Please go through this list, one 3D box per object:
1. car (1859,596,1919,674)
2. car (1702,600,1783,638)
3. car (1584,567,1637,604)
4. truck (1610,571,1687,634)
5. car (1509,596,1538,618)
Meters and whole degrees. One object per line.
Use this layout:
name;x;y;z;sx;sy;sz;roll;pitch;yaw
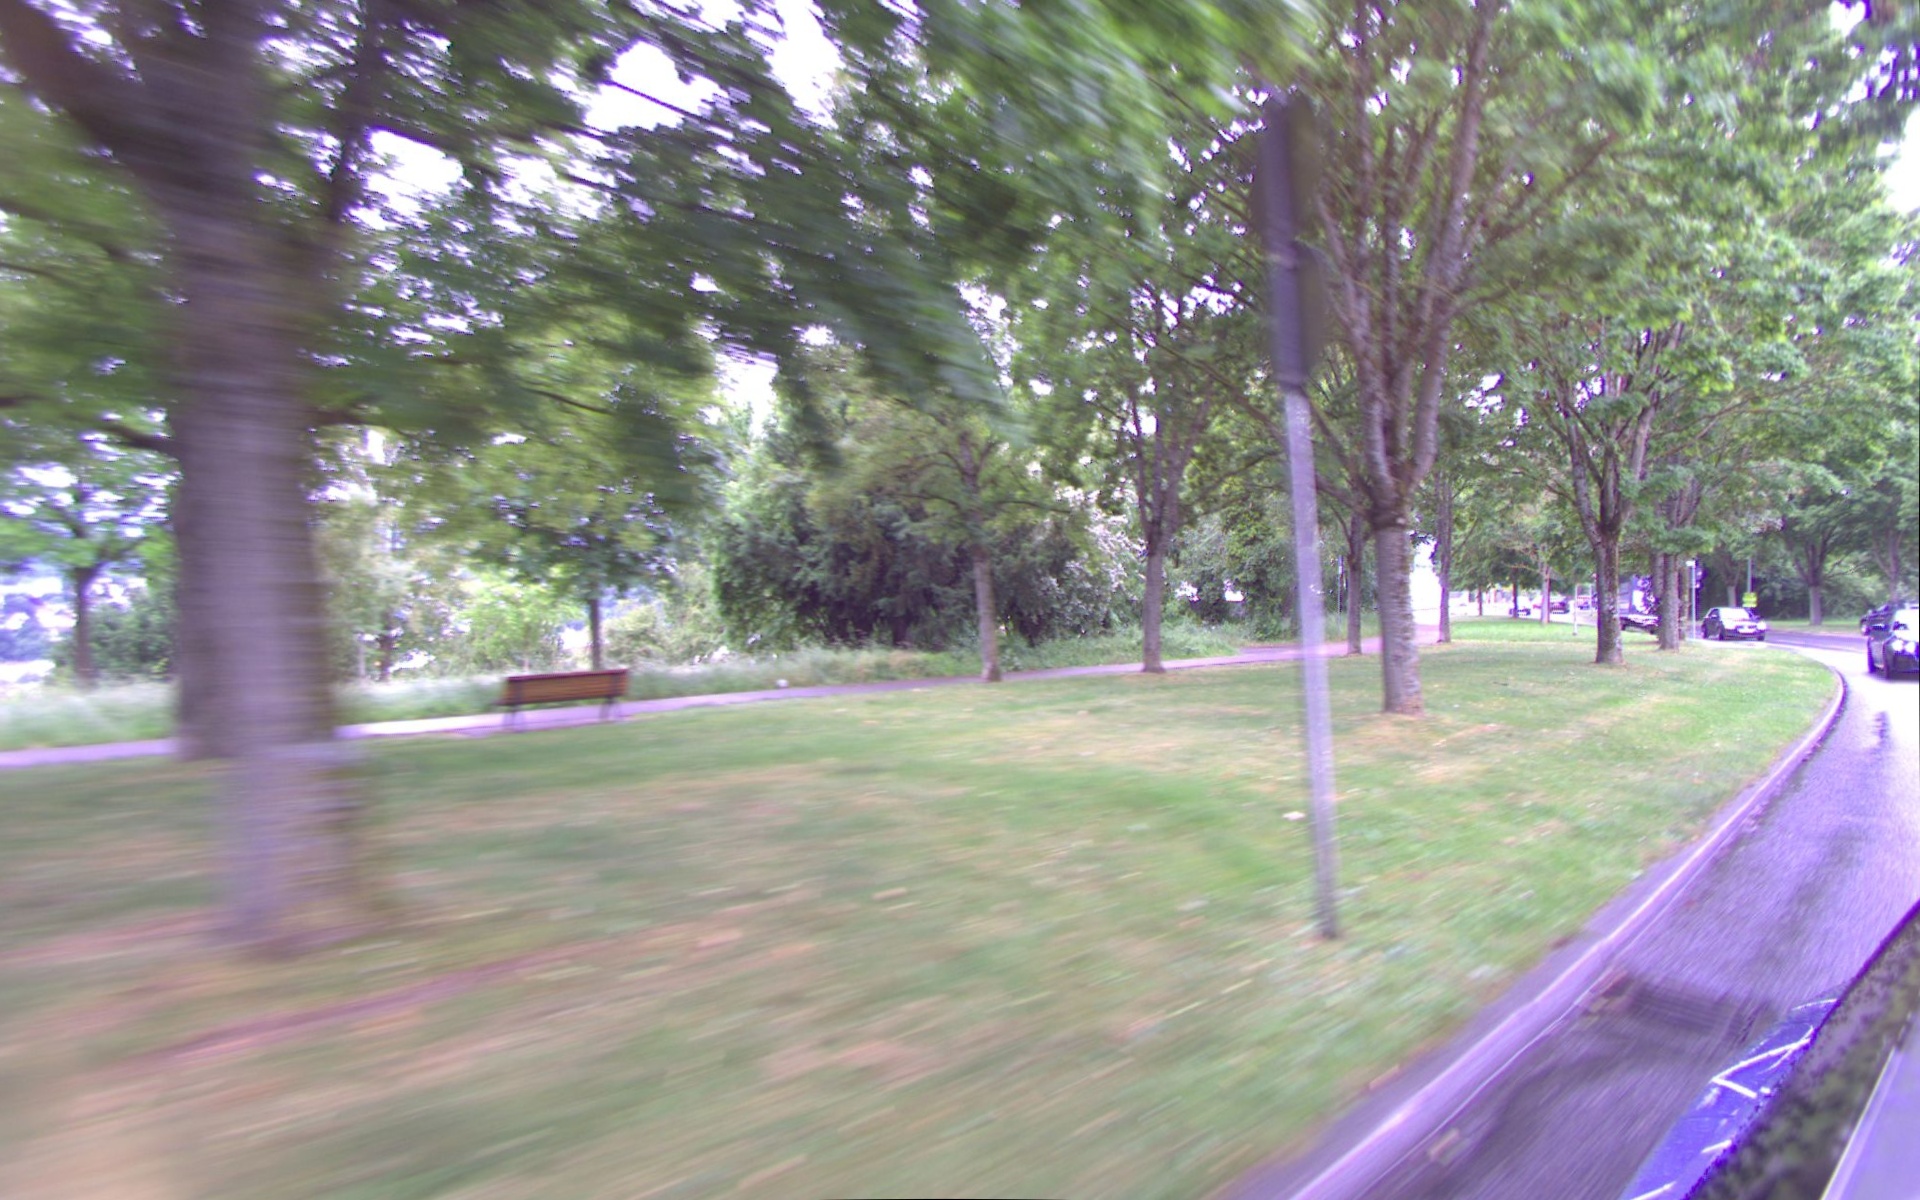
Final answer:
car;21.053;0.689;21.723;1.951;1.557;4.008;-1;0;32
car;35.765;0.845;46.376;1.978;1.636;3.968;-1;0;23
car;37.574;-0.811;58.530;1.978;2.039;3.968;0;0;24
truck;35.127;0.128;51.758;2.122;3.084;5.130;-1;0;22
car;53.098;0.619;95.460;1.978;2.039;3.967;-1;0;24
